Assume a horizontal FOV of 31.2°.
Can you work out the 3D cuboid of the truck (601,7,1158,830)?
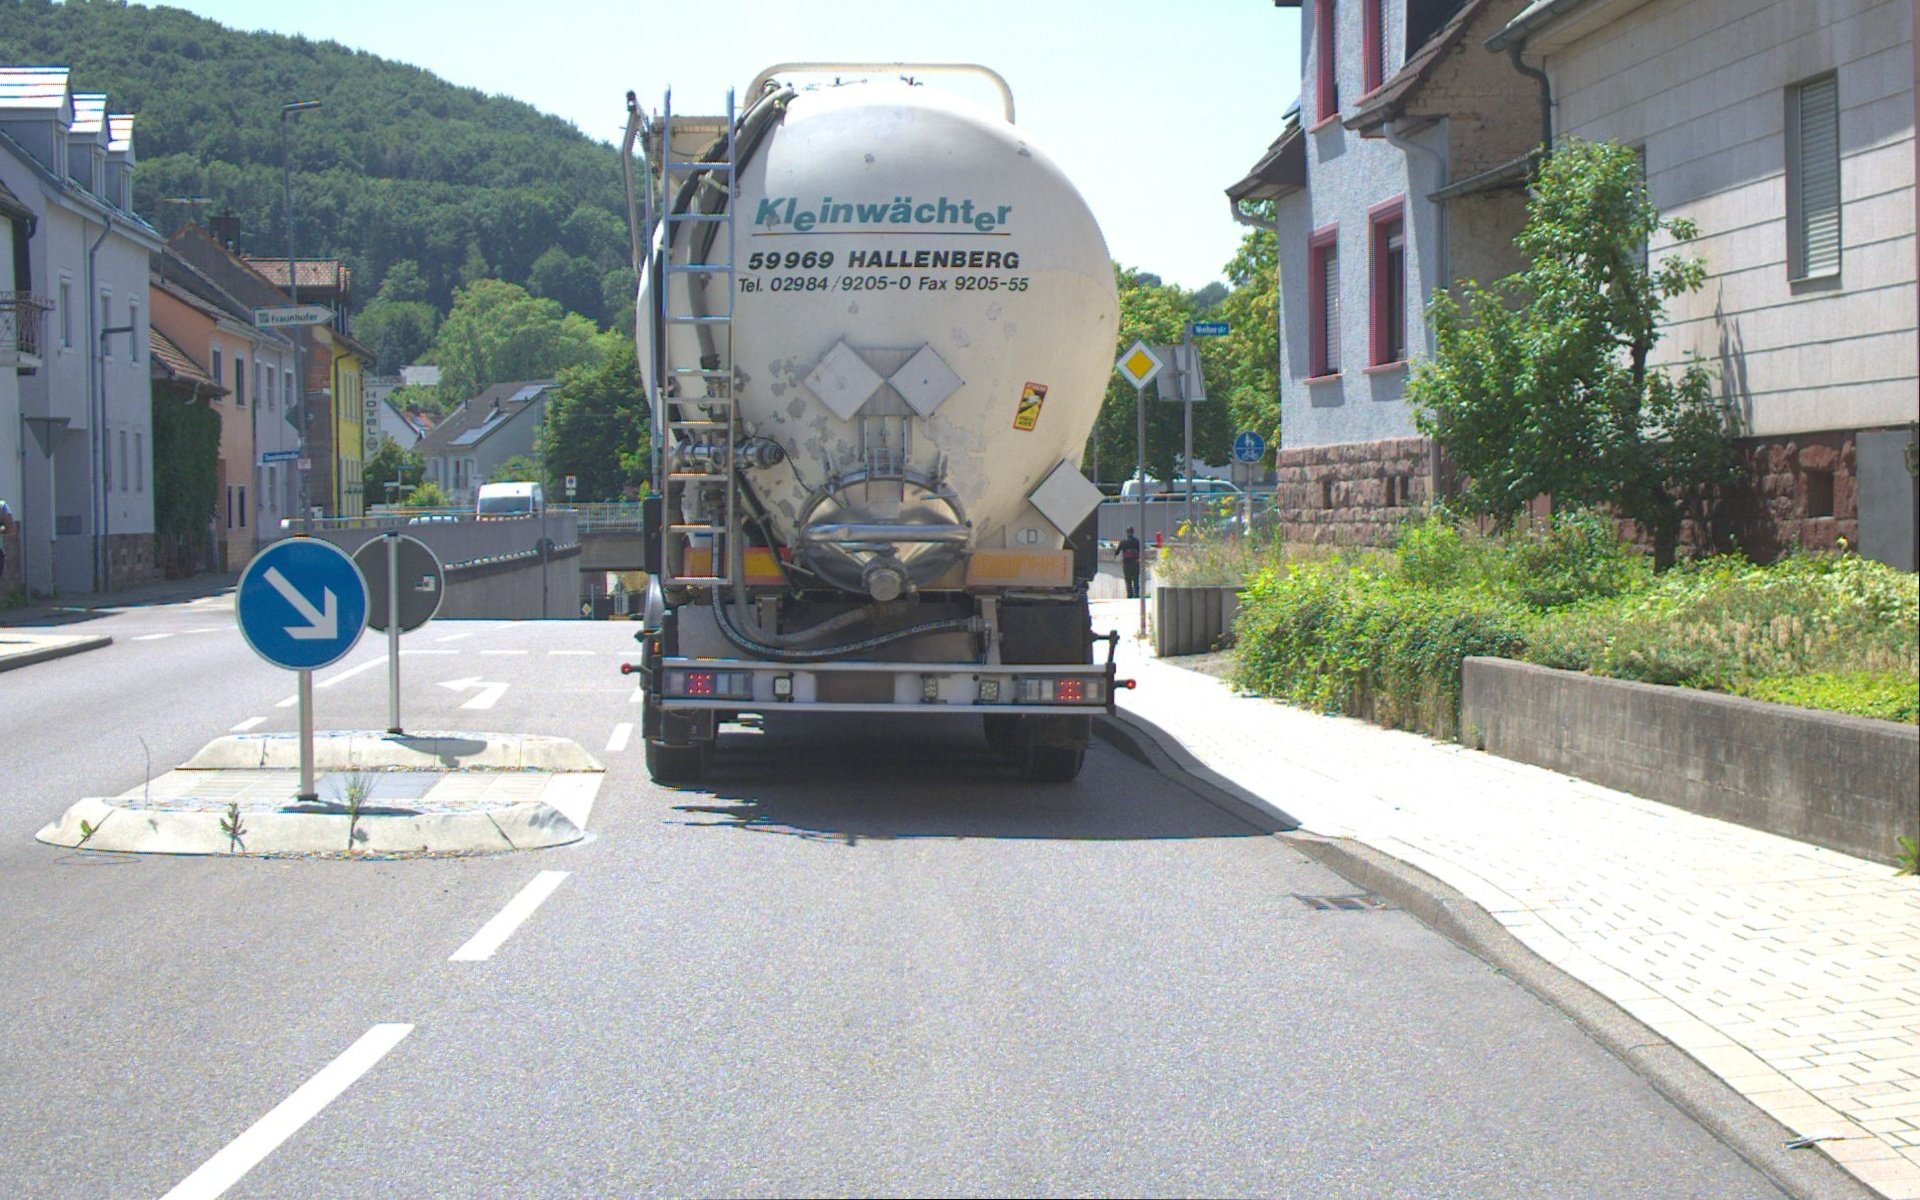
[{"bbox_3d":[-0.919,-1.034,22.434,2.749,4.043,10.892,0,2,-6],"label":"truck"}]

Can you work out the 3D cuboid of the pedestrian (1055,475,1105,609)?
[{"bbox_3d":[1.529,-0.734,43.909,0.571,1.688,0.721,1,0,-1],"label":"pedestrian"}]

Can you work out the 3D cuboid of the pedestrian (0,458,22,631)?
[{"bbox_3d":[-10.421,-0.594,36.599,0.712,1.817,0.899,1,0,-9],"label":"pedestrian"}]
